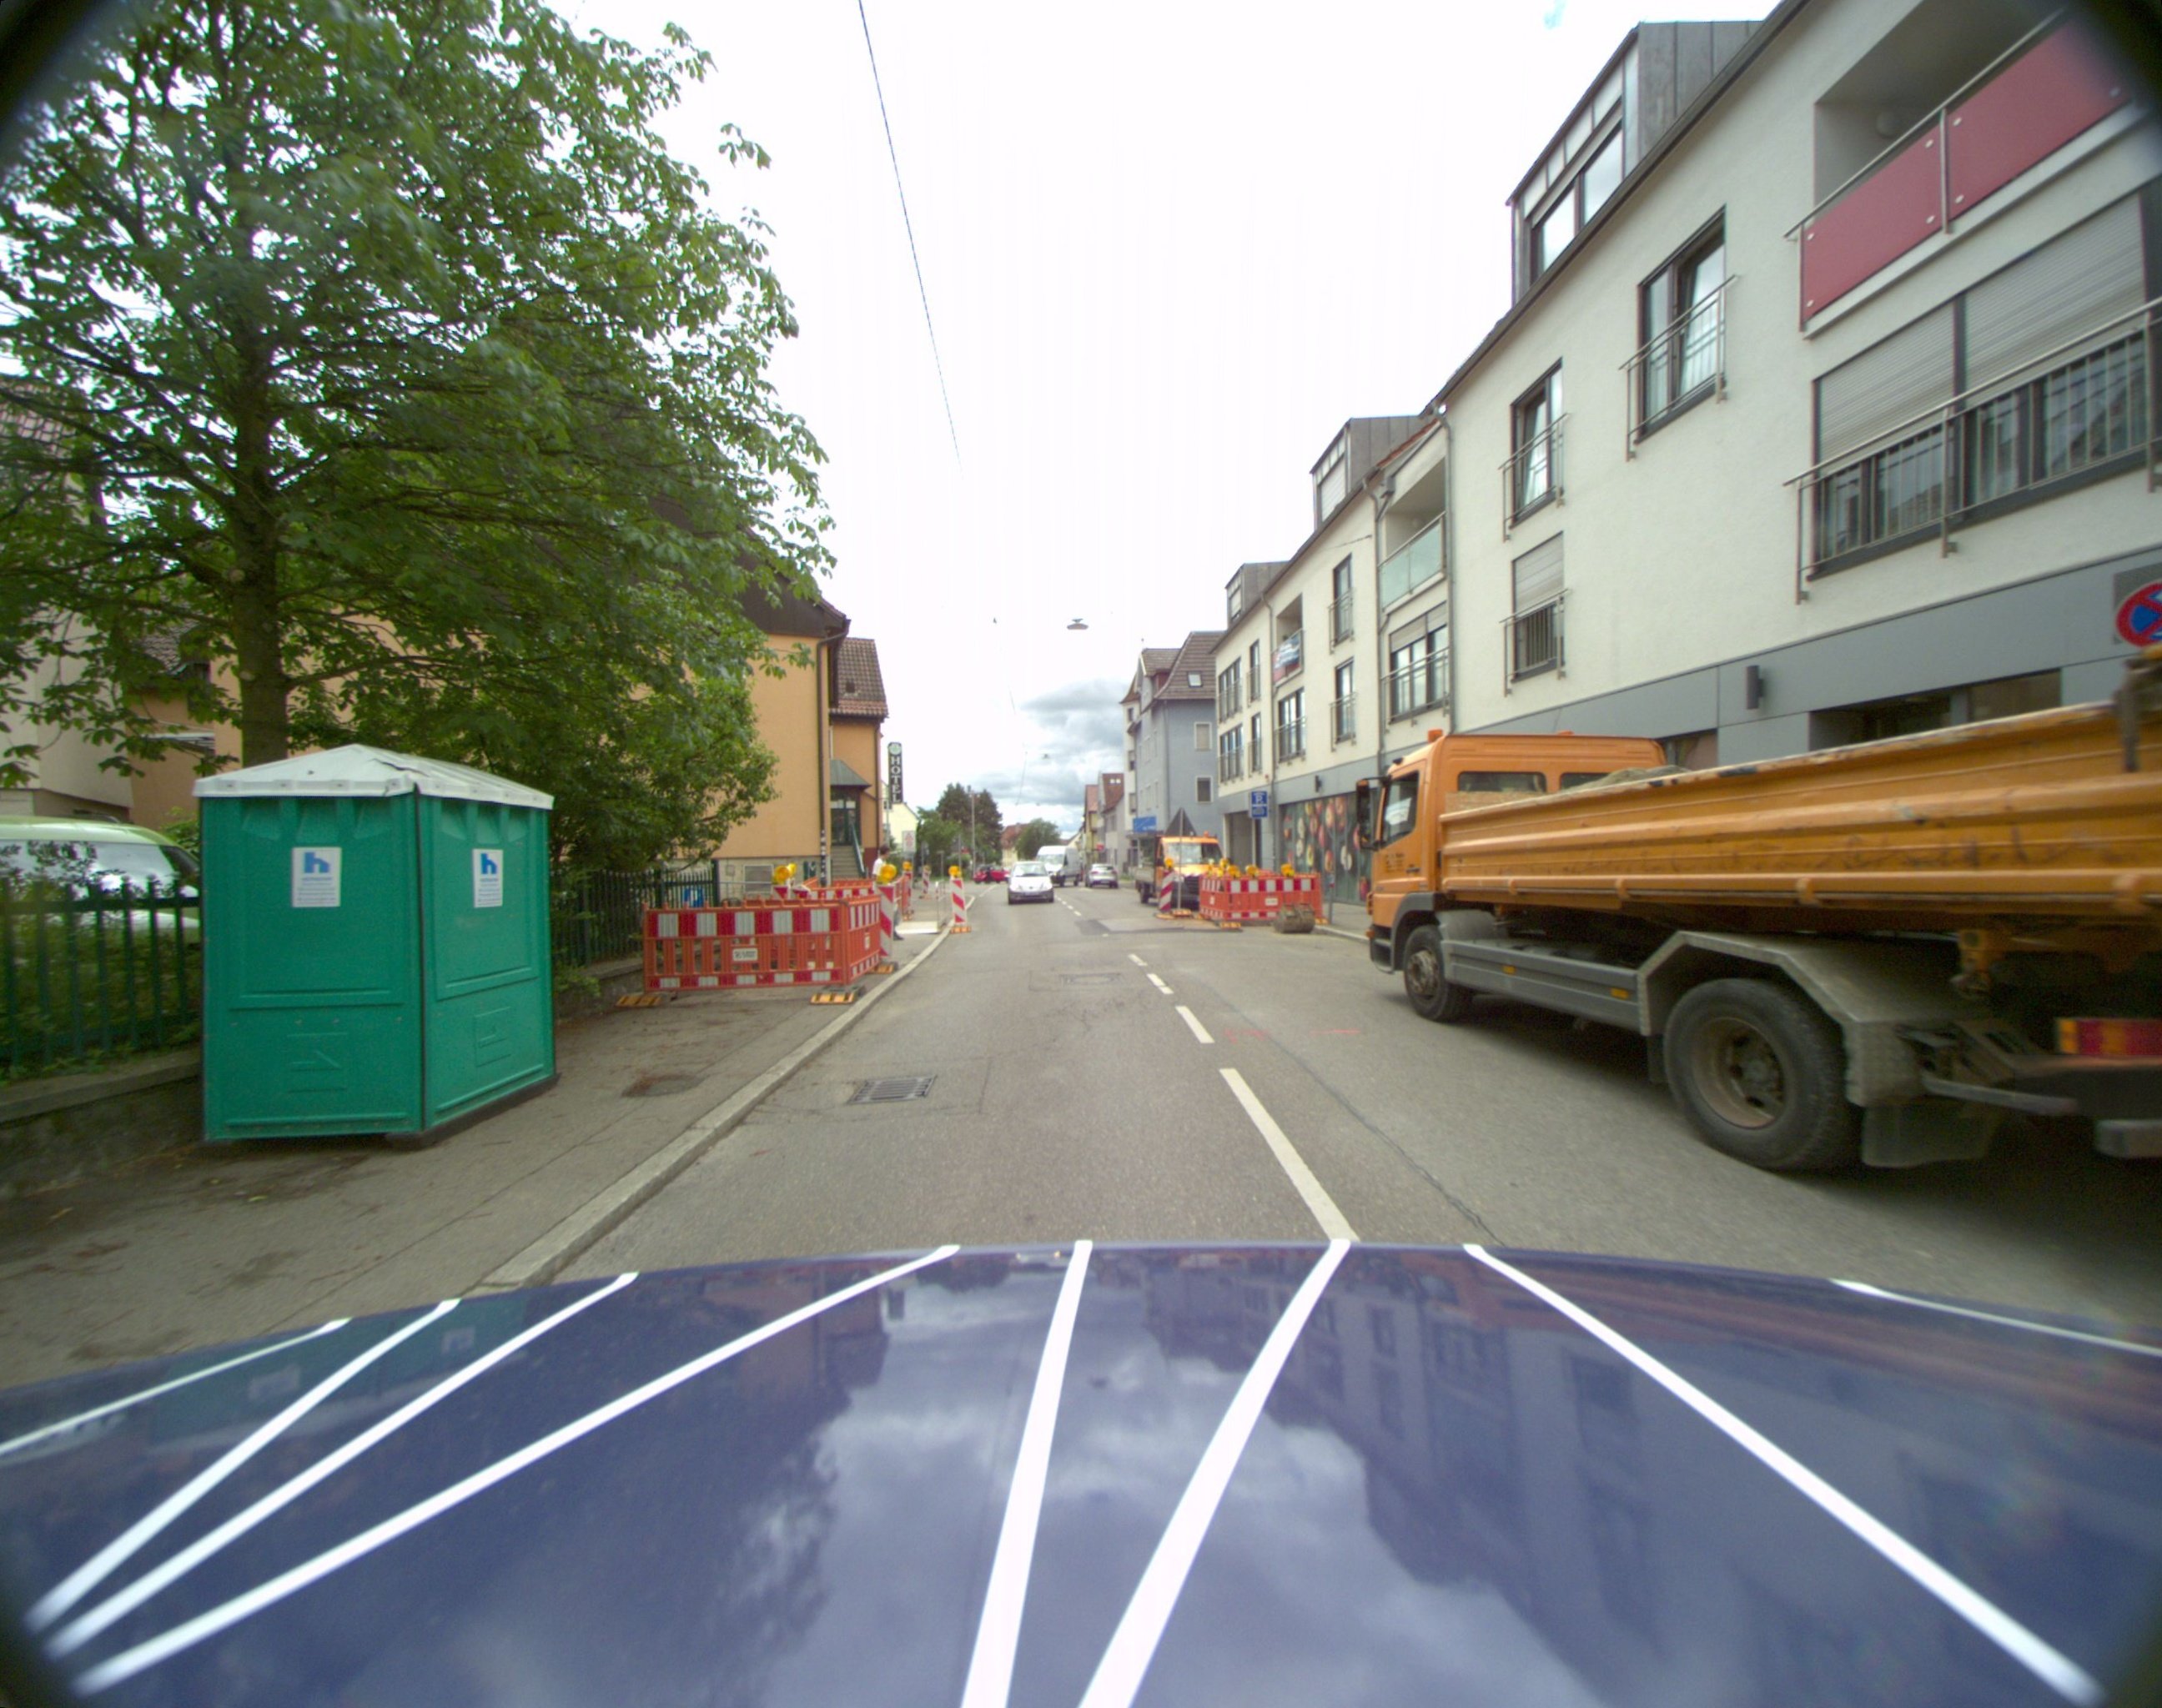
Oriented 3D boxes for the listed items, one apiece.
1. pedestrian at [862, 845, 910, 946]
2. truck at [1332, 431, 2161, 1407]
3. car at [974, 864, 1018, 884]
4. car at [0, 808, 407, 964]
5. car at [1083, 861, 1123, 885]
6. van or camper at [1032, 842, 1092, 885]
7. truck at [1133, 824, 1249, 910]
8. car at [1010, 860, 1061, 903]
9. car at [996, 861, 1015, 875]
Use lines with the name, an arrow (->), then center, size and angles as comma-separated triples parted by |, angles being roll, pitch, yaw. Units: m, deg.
pedestrian -> -3.863, 0.806, 15.087 | 0.800, 1.938, 0.836 | 0, 0, -7
truck -> 4.331, 0.196, 5.388 | 2.738, 2.709, 6.847 | -1, 0, -1
car -> -6.724, 1.543, 59.971 | 2.945, 1.511, 1.815 | 0, 0, -40
car -> -10.620, 0.338, 8.700 | 4.000, 1.554, 1.746 | -1, 0, -8
car -> 1.295, 1.119, 46.495 | 1.803, 1.403, 3.998 | 0, -1, -7
van or camper -> -1.116, 0.618, 48.868 | 2.322, 2.592, 6.214 | -1, 0, 13
truck -> 3.367, 0.414, 24.879 | 2.420, 2.451, 6.305 | 0, -1, -4
car -> -1.794, 1.038, 29.832 | 1.858, 1.547, 4.351 | 0, -1, -3
car -> -7.764, 1.426, 78.654 | 1.719, 1.472, 4.000 | -1, 0, -2
